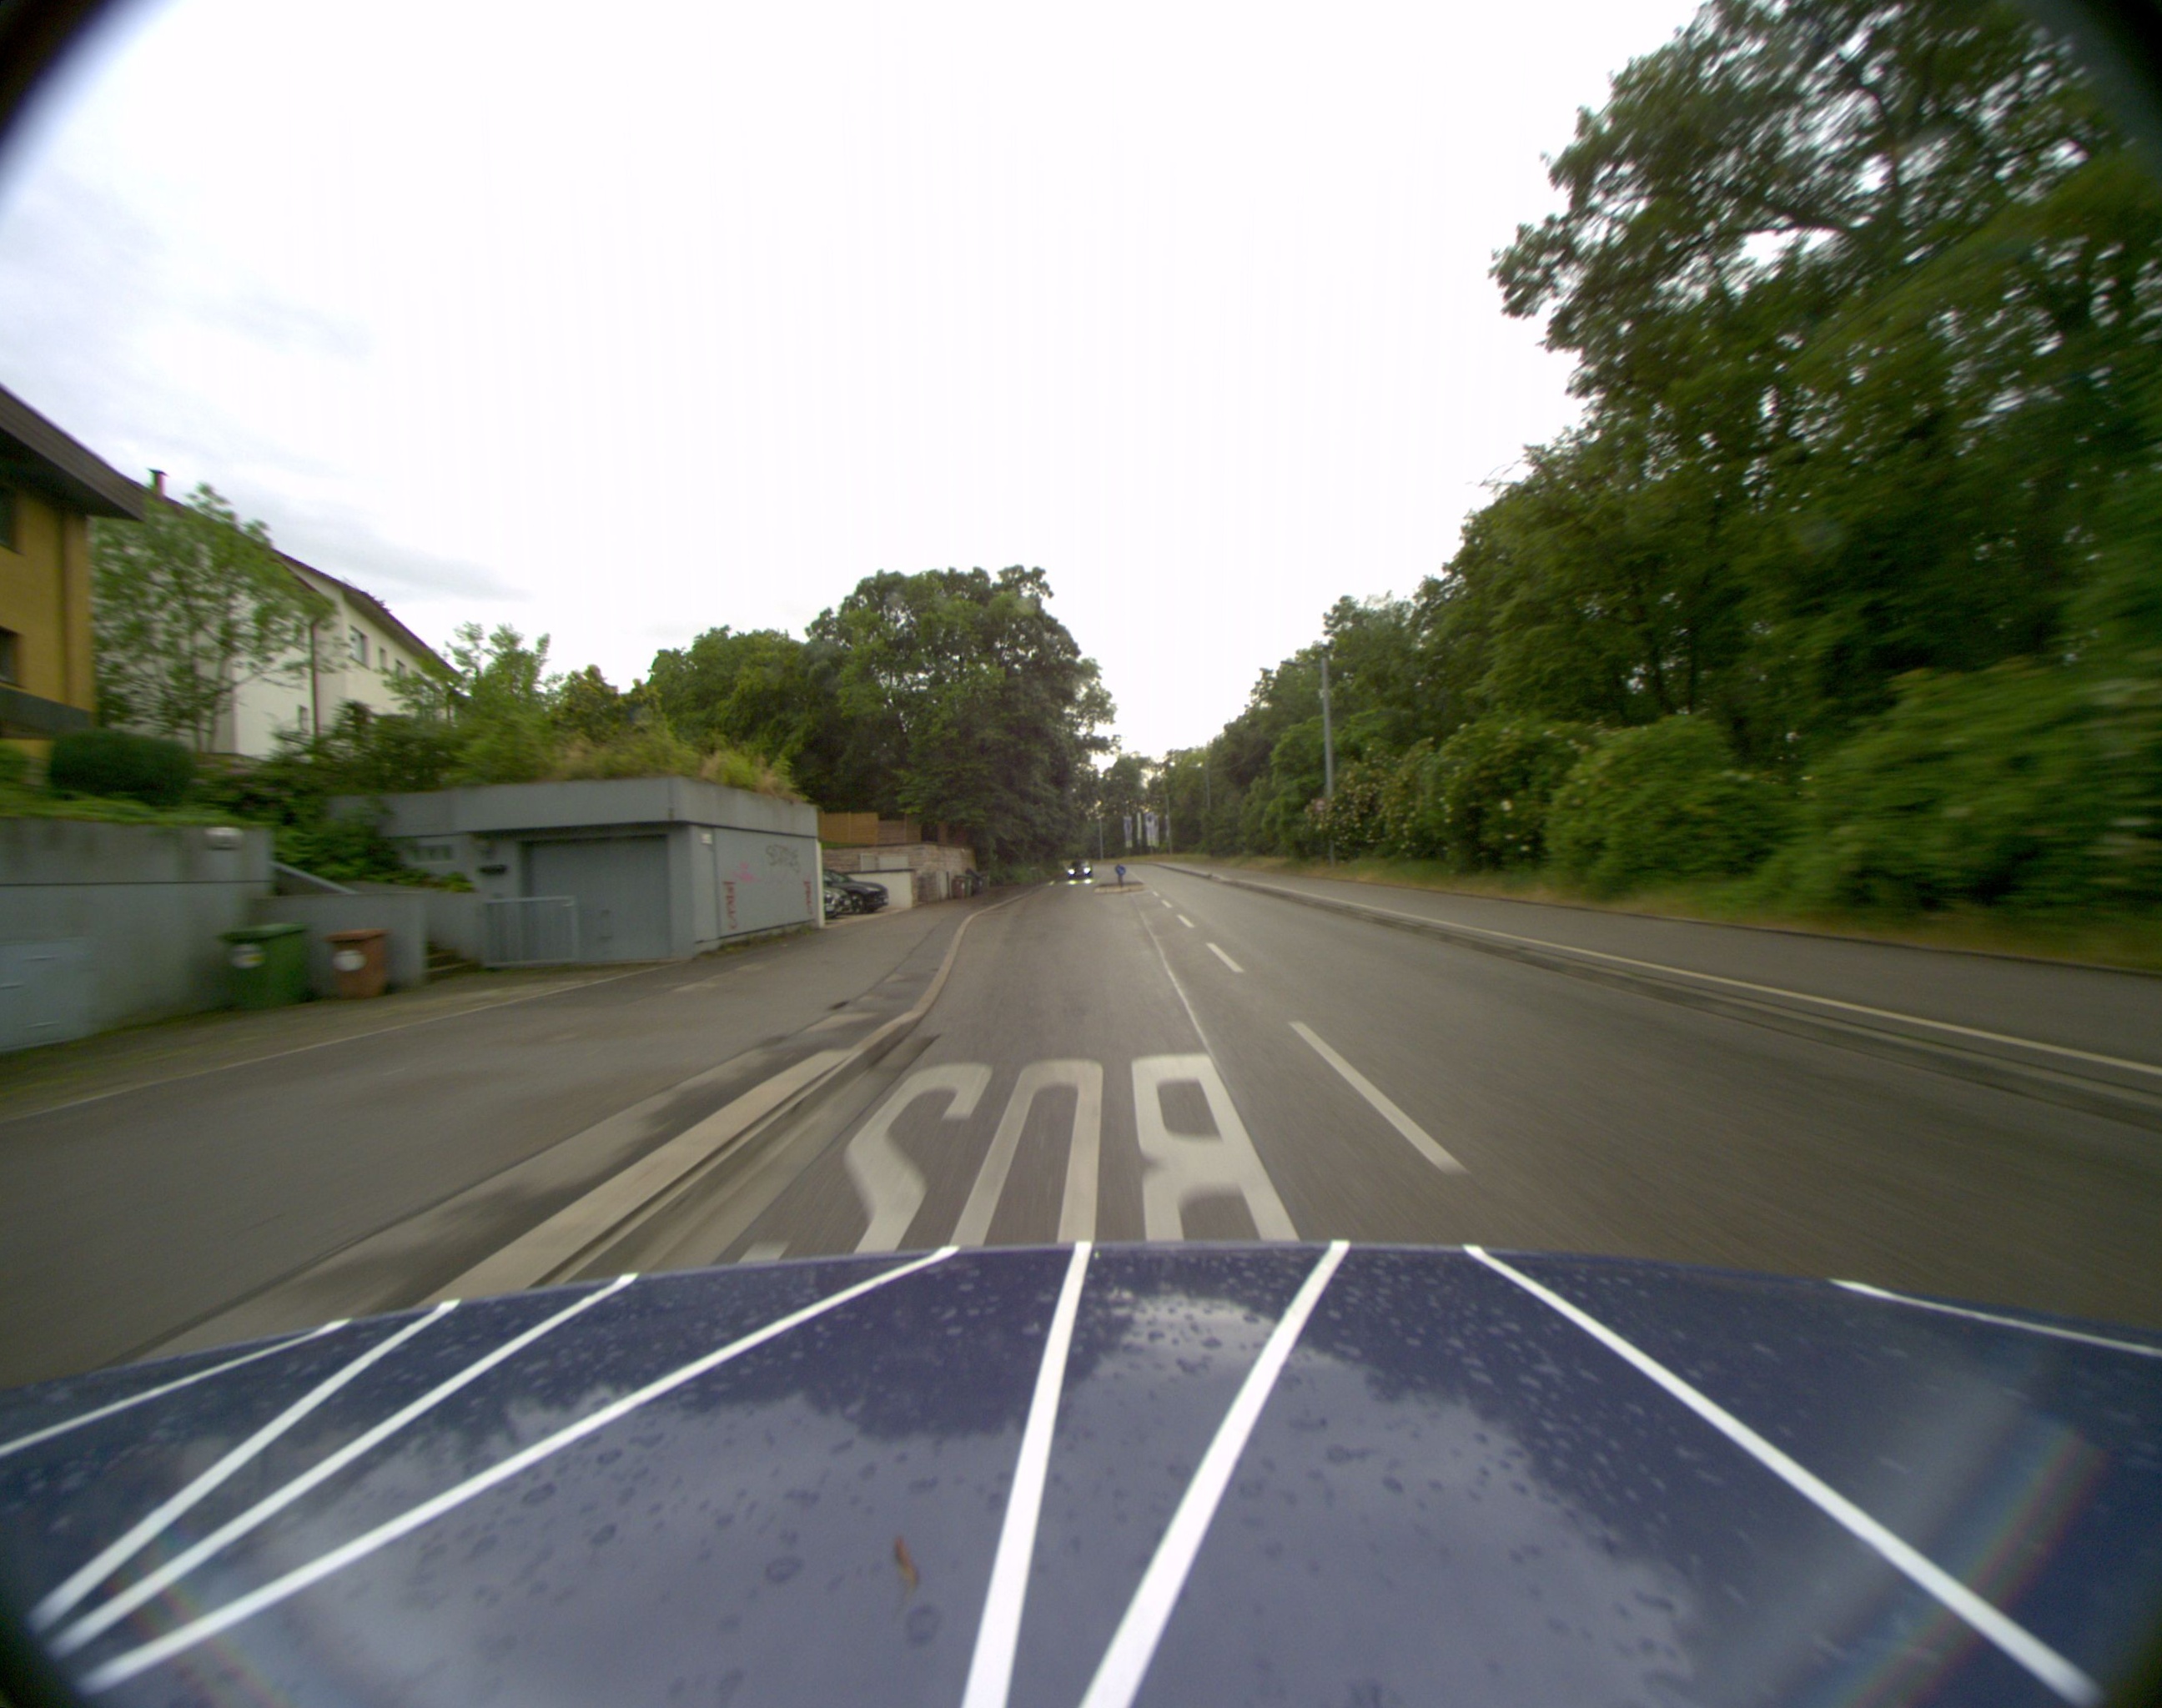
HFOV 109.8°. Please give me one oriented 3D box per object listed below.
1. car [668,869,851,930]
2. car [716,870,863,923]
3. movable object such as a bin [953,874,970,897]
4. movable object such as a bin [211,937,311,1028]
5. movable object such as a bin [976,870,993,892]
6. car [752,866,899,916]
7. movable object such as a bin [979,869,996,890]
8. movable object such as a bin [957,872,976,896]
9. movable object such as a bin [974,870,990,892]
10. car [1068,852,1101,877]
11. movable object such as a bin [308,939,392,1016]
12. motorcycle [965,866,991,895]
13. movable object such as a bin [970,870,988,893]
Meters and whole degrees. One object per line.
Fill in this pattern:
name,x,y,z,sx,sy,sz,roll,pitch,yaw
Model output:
car,-8.531,1.181,20.360,4.043,1.506,1.960,-1,-1,6
car,-8.635,1.246,22.750,3.644,1.417,1.837,-1,0,1
movable object such as a bin,-5.278,1.397,33.644,0.570,0.931,0.549,-3,1,3
movable object such as a bin,-10.501,1.627,9.748,0.528,1.030,0.636,-3,0,-3
movable object such as a bin,-4.970,1.366,39.091,0.666,1.062,0.701,-3,0,3
car,-8.436,1.197,25.333,4.228,1.498,1.895,-1,0,2
movable object such as a bin,-4.903,1.339,39.911,0.666,1.062,0.701,-3,0,3
movable object such as a bin,-5.176,1.351,34.382,0.666,0.999,0.659,-3,0,3
movable object such as a bin,-4.996,1.344,38.345,0.666,1.062,0.659,-3,1,3
car,0.300,0.791,59.296,1.998,1.714,4.002,-5,0,6
movable object such as a bin,-9.687,1.630,10.088,0.528,0.901,0.565,-3,0,-3
motorcycle,-4.876,1.225,35.966,0.777,1.237,2.013,-3,0,3
movable object such as a bin,-5.037,1.364,37.534,0.666,1.062,0.659,-3,1,3
